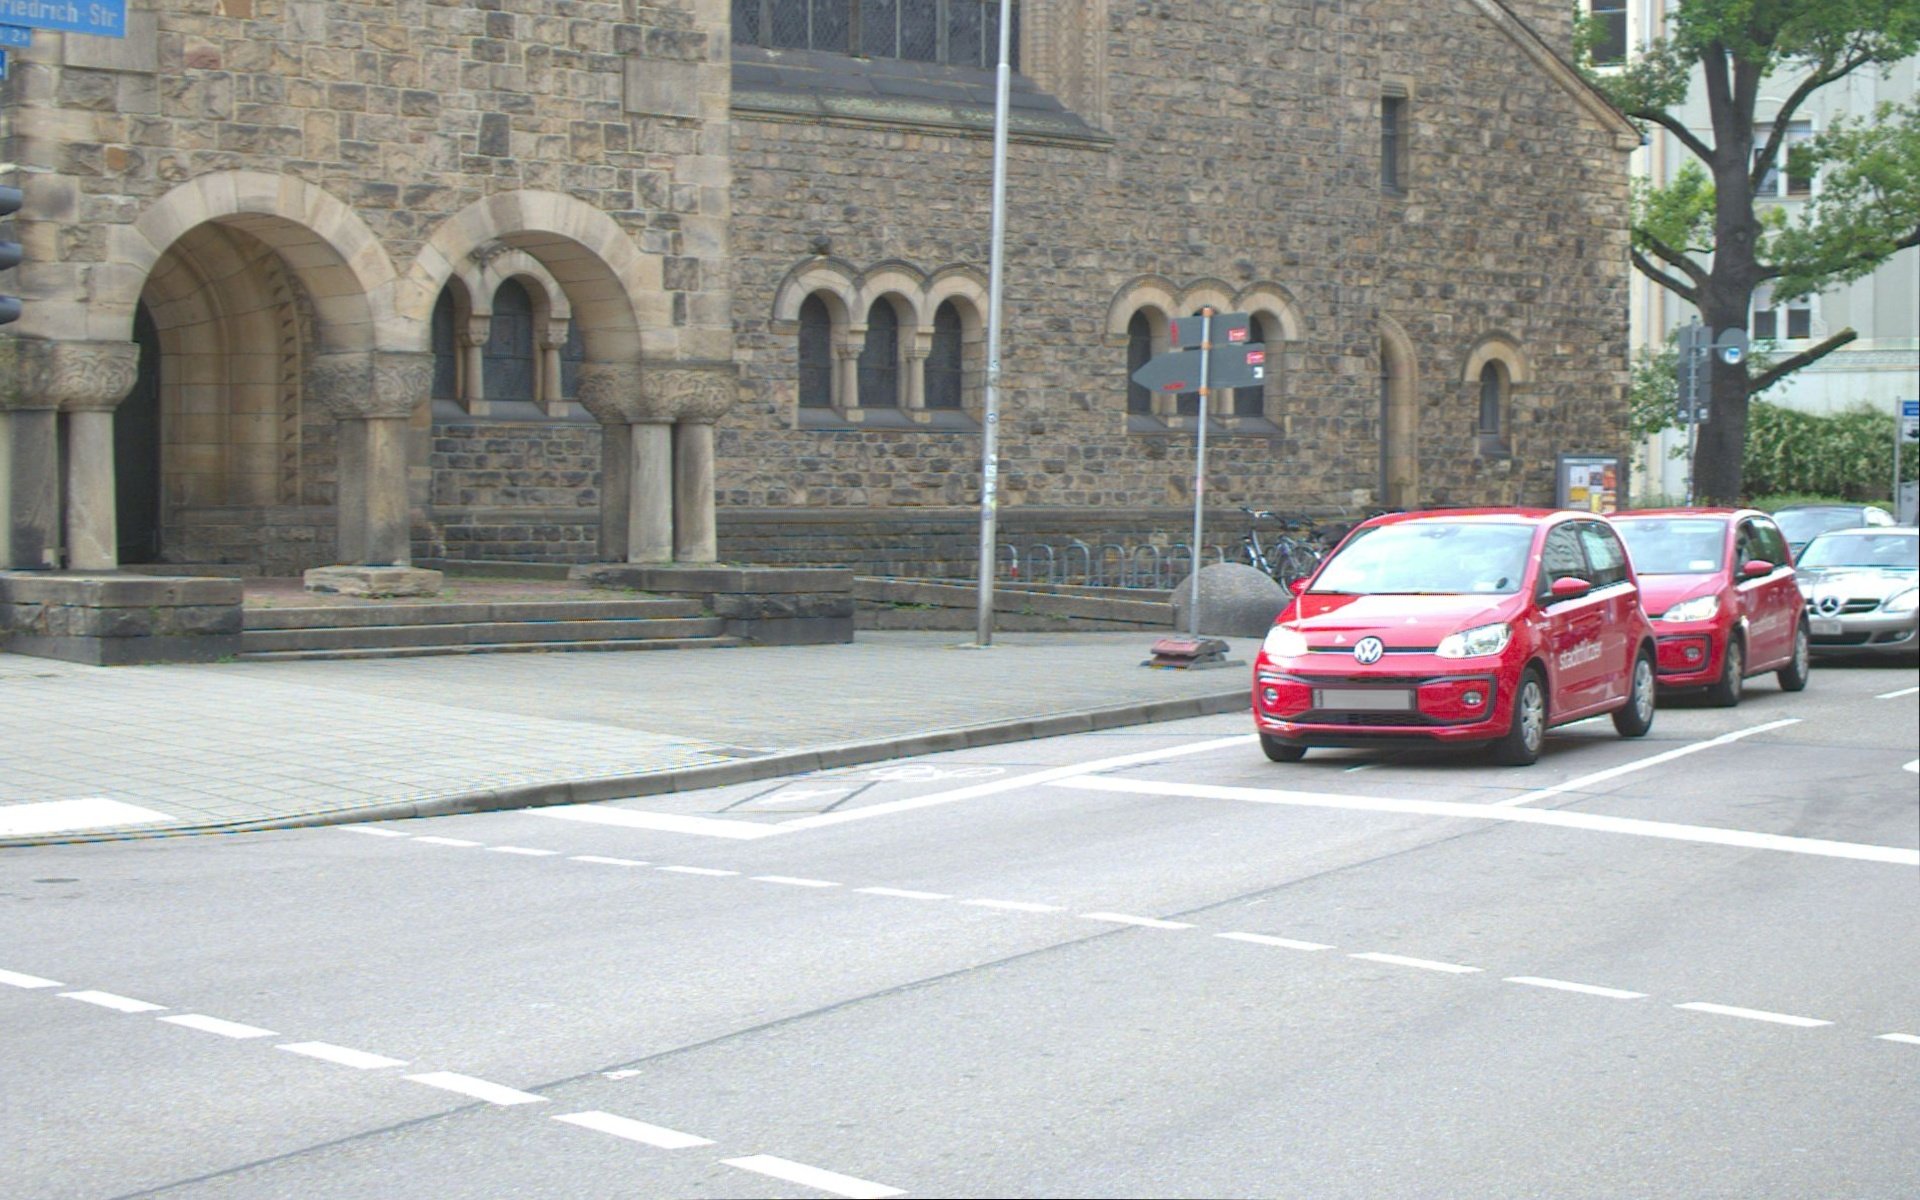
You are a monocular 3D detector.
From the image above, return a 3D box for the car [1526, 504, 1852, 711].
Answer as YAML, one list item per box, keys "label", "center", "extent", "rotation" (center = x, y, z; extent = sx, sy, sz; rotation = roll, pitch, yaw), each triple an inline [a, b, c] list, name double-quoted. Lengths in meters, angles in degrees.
- label: "car"
  center: [5.630, 0.027, 26.247]
  extent: [1.604, 1.452, 3.713]
  rotation: [-1, 1, 25]

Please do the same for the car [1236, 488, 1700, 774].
- label: "car"
  center: [3.193, 0.130, 20.970]
  extent: [1.651, 1.523, 3.888]
  rotation: [-1, 2, 26]

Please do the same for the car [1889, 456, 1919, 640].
- label: "car"
  center: [11.893, -0.625, 38.397]
  extent: [1.915, 1.948, 5.276]
  rotation: [1, 3, 26]

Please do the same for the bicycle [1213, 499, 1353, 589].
- label: "bicycle"
  center: [4.164, -0.731, 44.390]
  extent: [1.783, 1.121, 0.566]
  rotation: [2, 2, 39]

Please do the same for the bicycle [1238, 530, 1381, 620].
- label: "bicycle"
  center: [4.566, -0.338, 44.942]
  extent: [1.782, 1.126, 0.660]
  rotation: [2, 2, 39]

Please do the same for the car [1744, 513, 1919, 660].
- label: "car"
  center: [8.794, -0.152, 32.585]
  extent: [1.707, 1.282, 4.036]
  rotation: [-1, 1, 27]
